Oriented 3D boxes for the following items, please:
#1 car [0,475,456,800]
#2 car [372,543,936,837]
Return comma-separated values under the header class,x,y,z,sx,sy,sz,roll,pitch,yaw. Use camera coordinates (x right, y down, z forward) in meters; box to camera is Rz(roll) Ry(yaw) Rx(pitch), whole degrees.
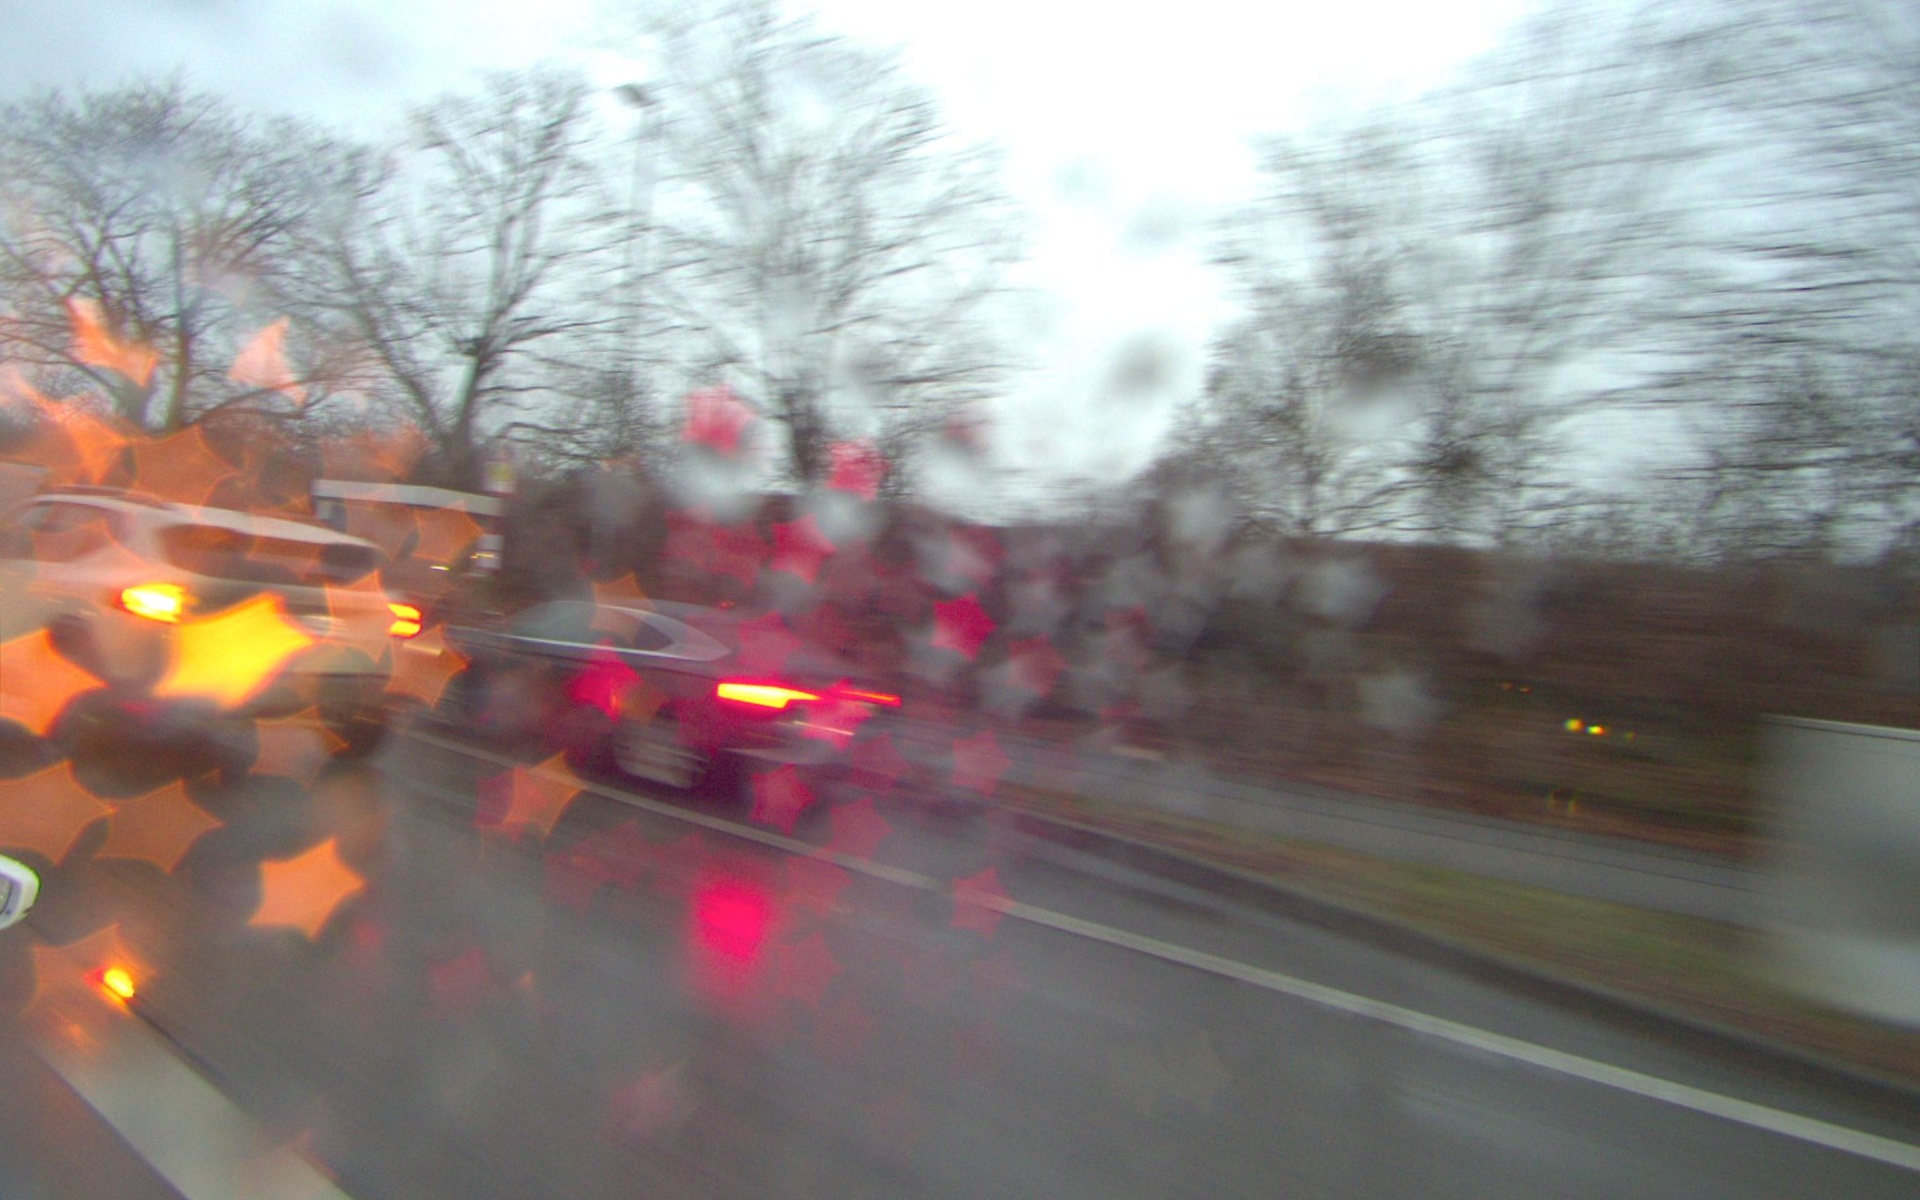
class,x,y,z,sx,sy,sz,roll,pitch,yaw
car,-5.812,0.085,7.090,4.335,1.638,1.819,6,0,29
car,-2.693,0.588,8.607,4.470,1.640,1.969,6,1,29
